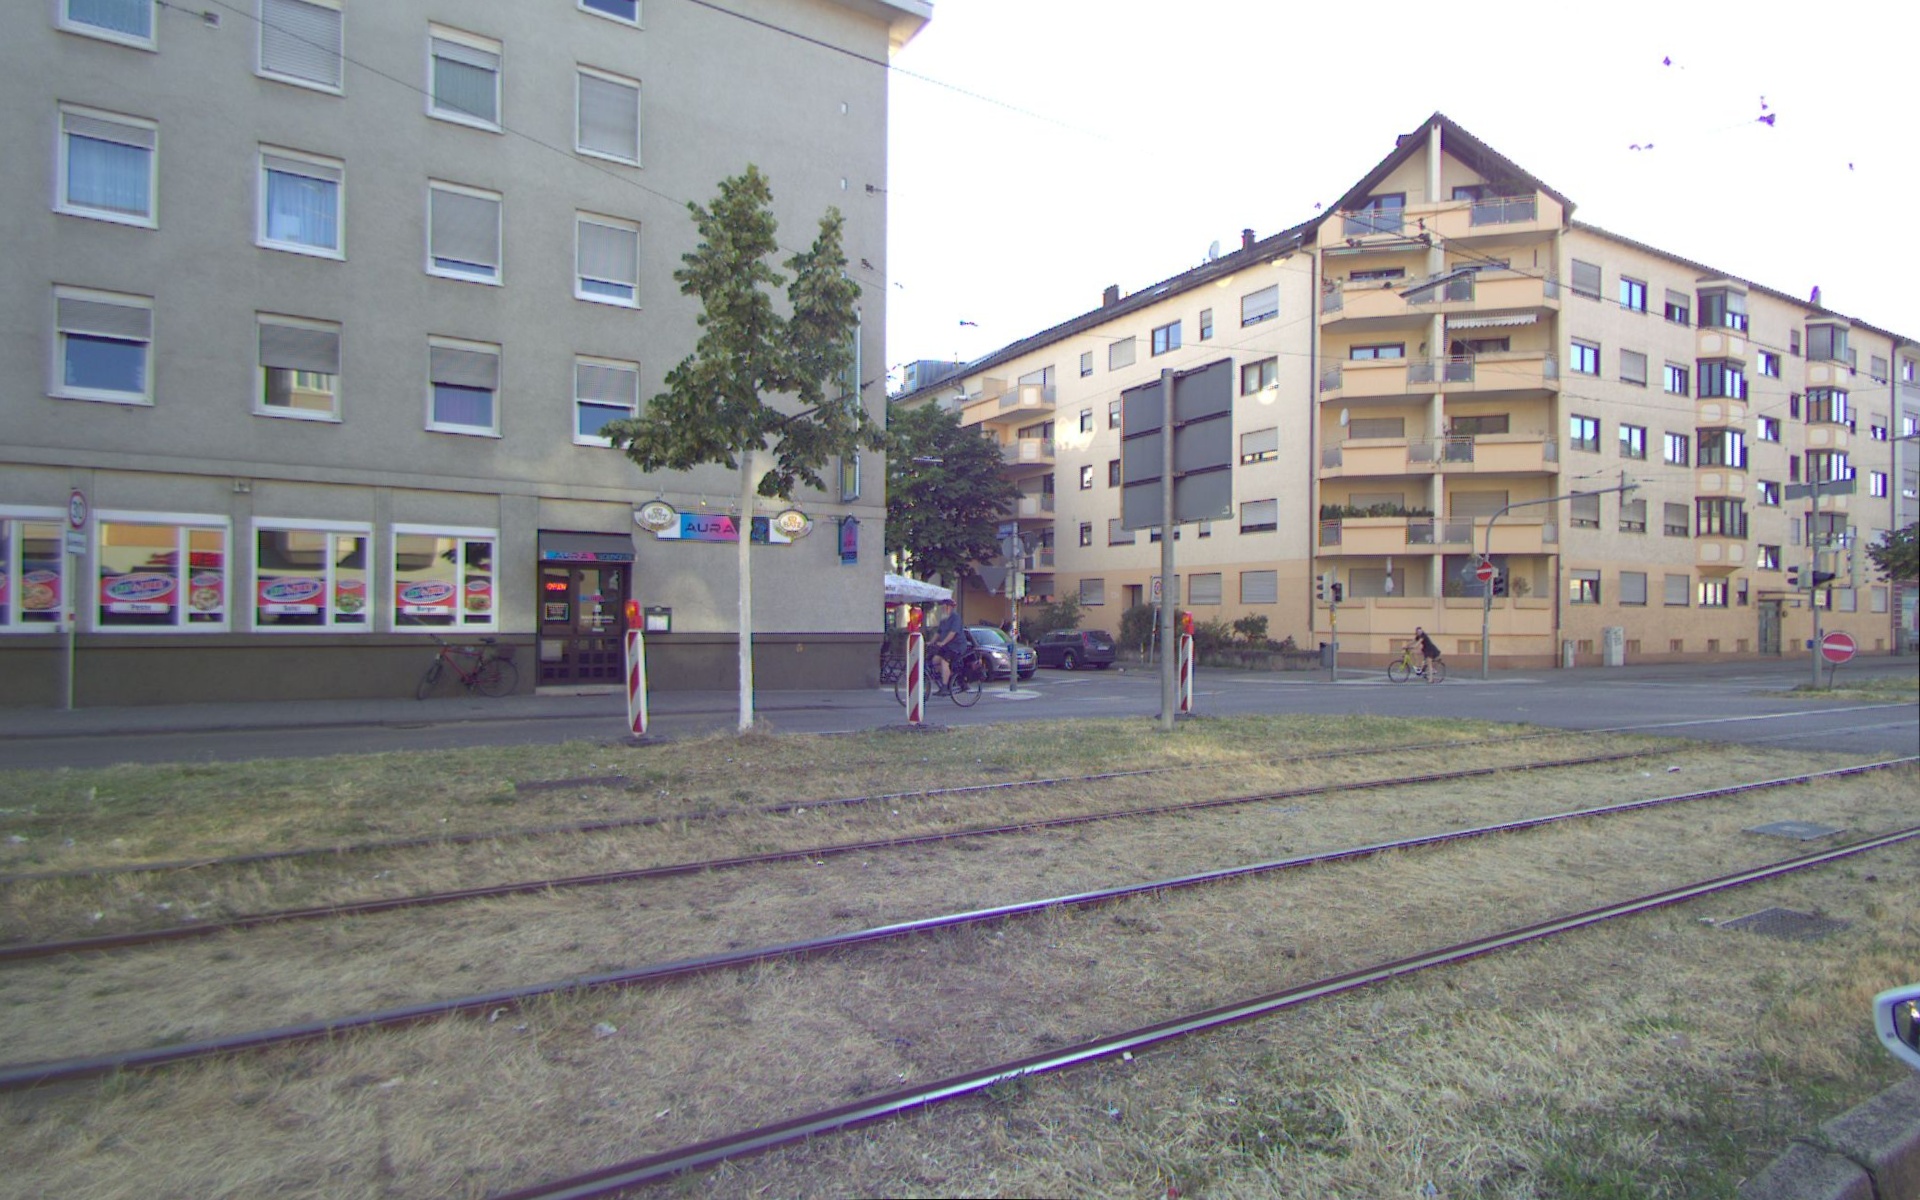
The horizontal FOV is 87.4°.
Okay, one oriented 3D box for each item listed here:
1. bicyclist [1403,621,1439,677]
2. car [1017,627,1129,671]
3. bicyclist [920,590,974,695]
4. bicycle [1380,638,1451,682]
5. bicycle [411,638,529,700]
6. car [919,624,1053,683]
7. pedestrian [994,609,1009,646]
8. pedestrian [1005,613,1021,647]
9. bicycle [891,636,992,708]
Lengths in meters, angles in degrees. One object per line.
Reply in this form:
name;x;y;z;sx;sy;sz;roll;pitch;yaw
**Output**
bicyclist;13.469;1.420;29.364;0.793;1.607;0.628;0;0;4
car;4.167;1.784;37.602;1.982;1.462;3.957;-1;0;-38
bicyclist;-0.244;0.777;18.751;0.797;1.908;0.650;1;1;-21
bicycle;13.310;1.747;29.377;1.833;1.274;0.457;0;0;3
bicycle;-8.646;1.208;17.757;1.823;1.037;0.605;2;0;-31
car;0.748;1.611;31.450;1.982;1.645;4.153;-2;0;-38
pedestrian;1.964;1.293;47.164;0.456;1.727;0.589;2;0;-24
pedestrian;2.498;1.398;47.401;0.509;1.573;0.547;2;0;-24
bicycle;-0.338;1.326;18.688;1.843;1.274;0.454;0;0;-21
